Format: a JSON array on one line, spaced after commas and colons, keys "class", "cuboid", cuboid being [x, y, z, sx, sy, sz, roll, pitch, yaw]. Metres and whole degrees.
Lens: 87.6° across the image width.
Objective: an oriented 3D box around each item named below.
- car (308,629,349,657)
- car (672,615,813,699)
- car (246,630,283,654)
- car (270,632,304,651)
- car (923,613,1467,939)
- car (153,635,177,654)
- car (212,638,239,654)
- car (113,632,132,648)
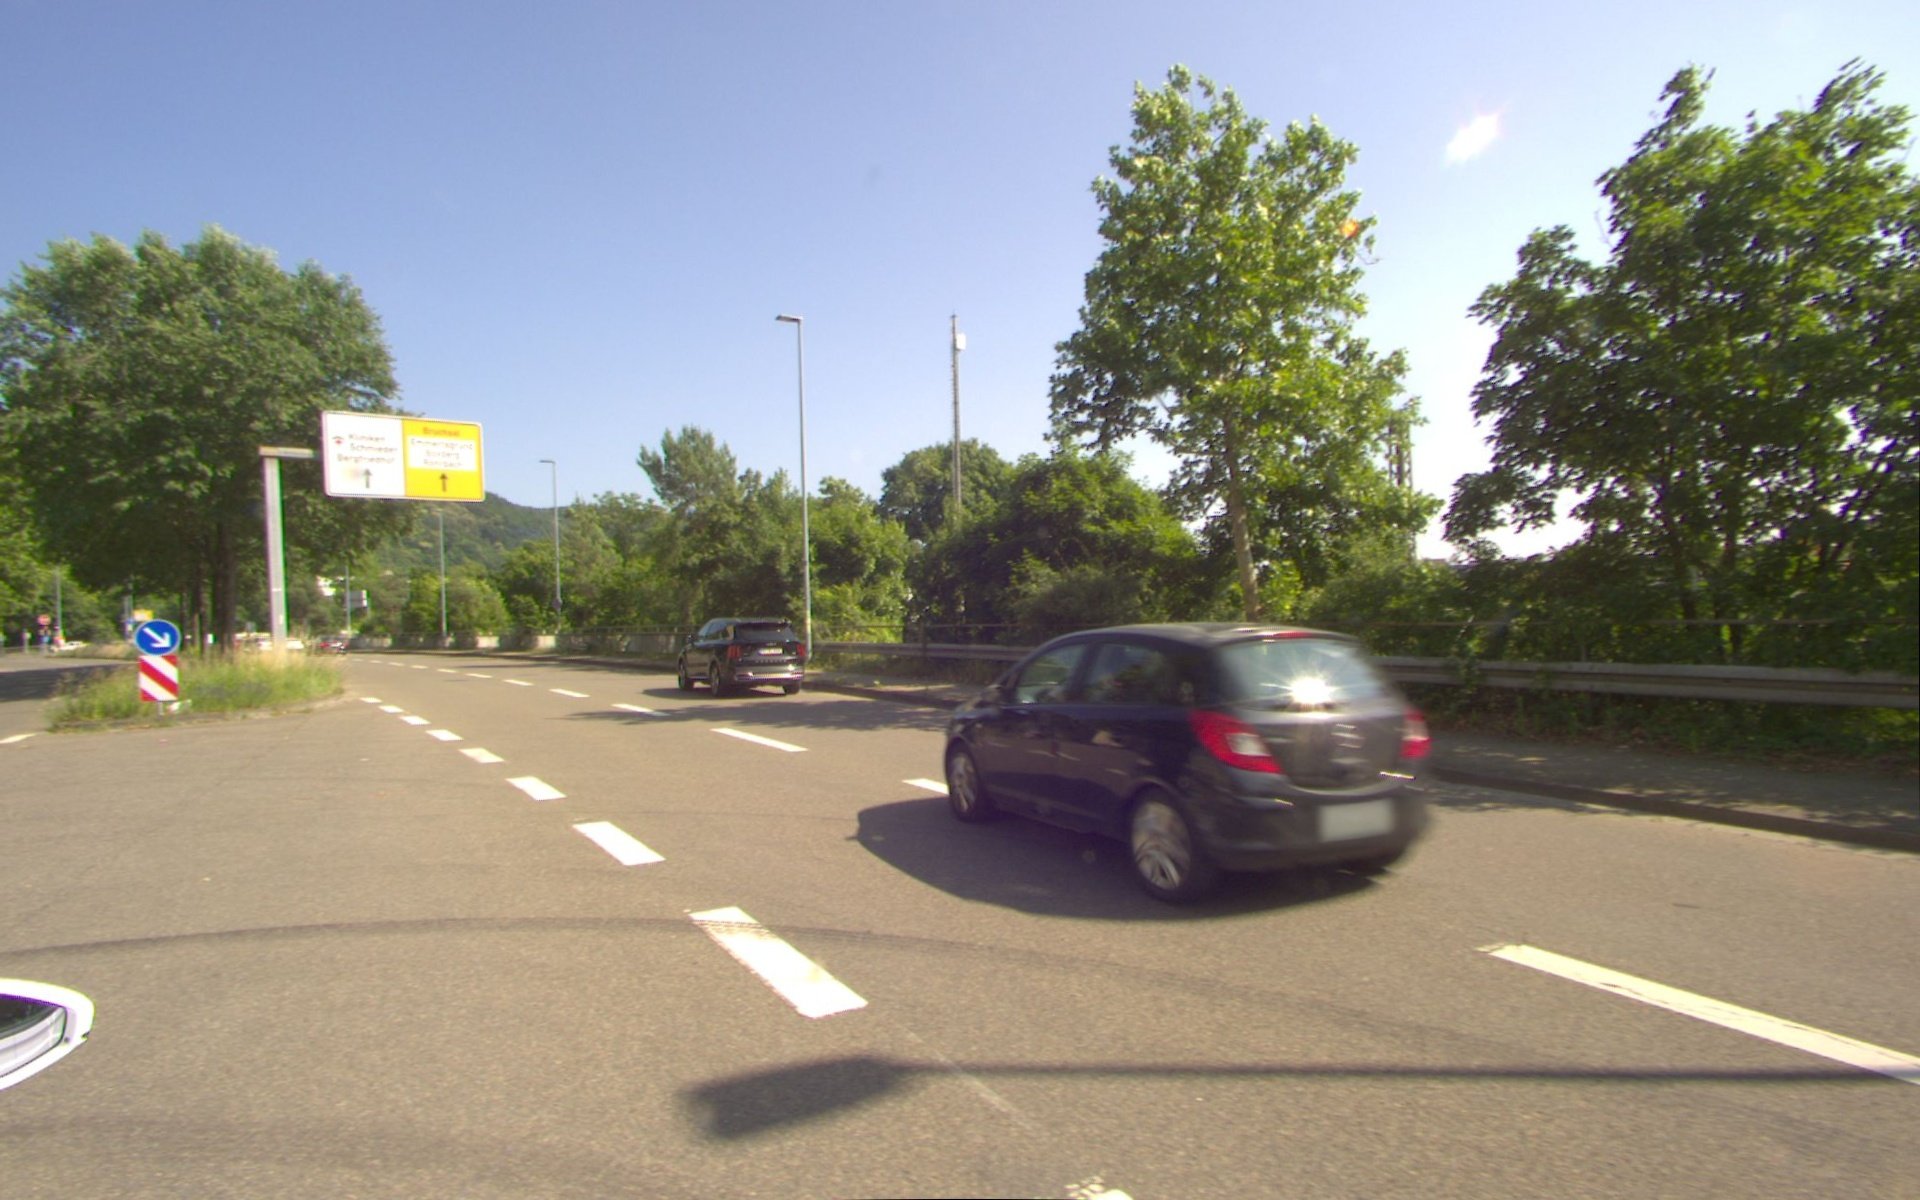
[{"class": "car", "cuboid": [-45.257, 3.050, 71.708, 1.977, 1.915, 3.967, -1, -1, -40]}, {"class": "car", "cuboid": [-5.024, 1.223, 22.692, 1.896, 1.685, 4.291, 0, -1, -30]}, {"class": "car", "cuboid": [-58.942, 3.581, 84.803, 1.980, 1.915, 3.963, -1, -1, -43]}, {"class": "car", "cuboid": [-63.183, 3.927, 94.016, 1.980, 1.699, 3.963, -1, -1, -43]}, {"class": "car", "cuboid": [1.219, 0.877, 6.655, 1.655, 1.488, 3.564, -1, -1, -25]}, {"class": "car", "cuboid": [-84.850, 4.746, 106.873, 1.618, 1.835, 3.558, -1, -1, -44]}, {"class": "car", "cuboid": [-71.143, 4.443, 96.959, 1.618, 1.515, 3.646, -1, -1, -43]}, {"class": "car", "cuboid": [-105.088, 5.027, 125.672, 1.618, 1.835, 3.558, -1, -1, -44]}]
